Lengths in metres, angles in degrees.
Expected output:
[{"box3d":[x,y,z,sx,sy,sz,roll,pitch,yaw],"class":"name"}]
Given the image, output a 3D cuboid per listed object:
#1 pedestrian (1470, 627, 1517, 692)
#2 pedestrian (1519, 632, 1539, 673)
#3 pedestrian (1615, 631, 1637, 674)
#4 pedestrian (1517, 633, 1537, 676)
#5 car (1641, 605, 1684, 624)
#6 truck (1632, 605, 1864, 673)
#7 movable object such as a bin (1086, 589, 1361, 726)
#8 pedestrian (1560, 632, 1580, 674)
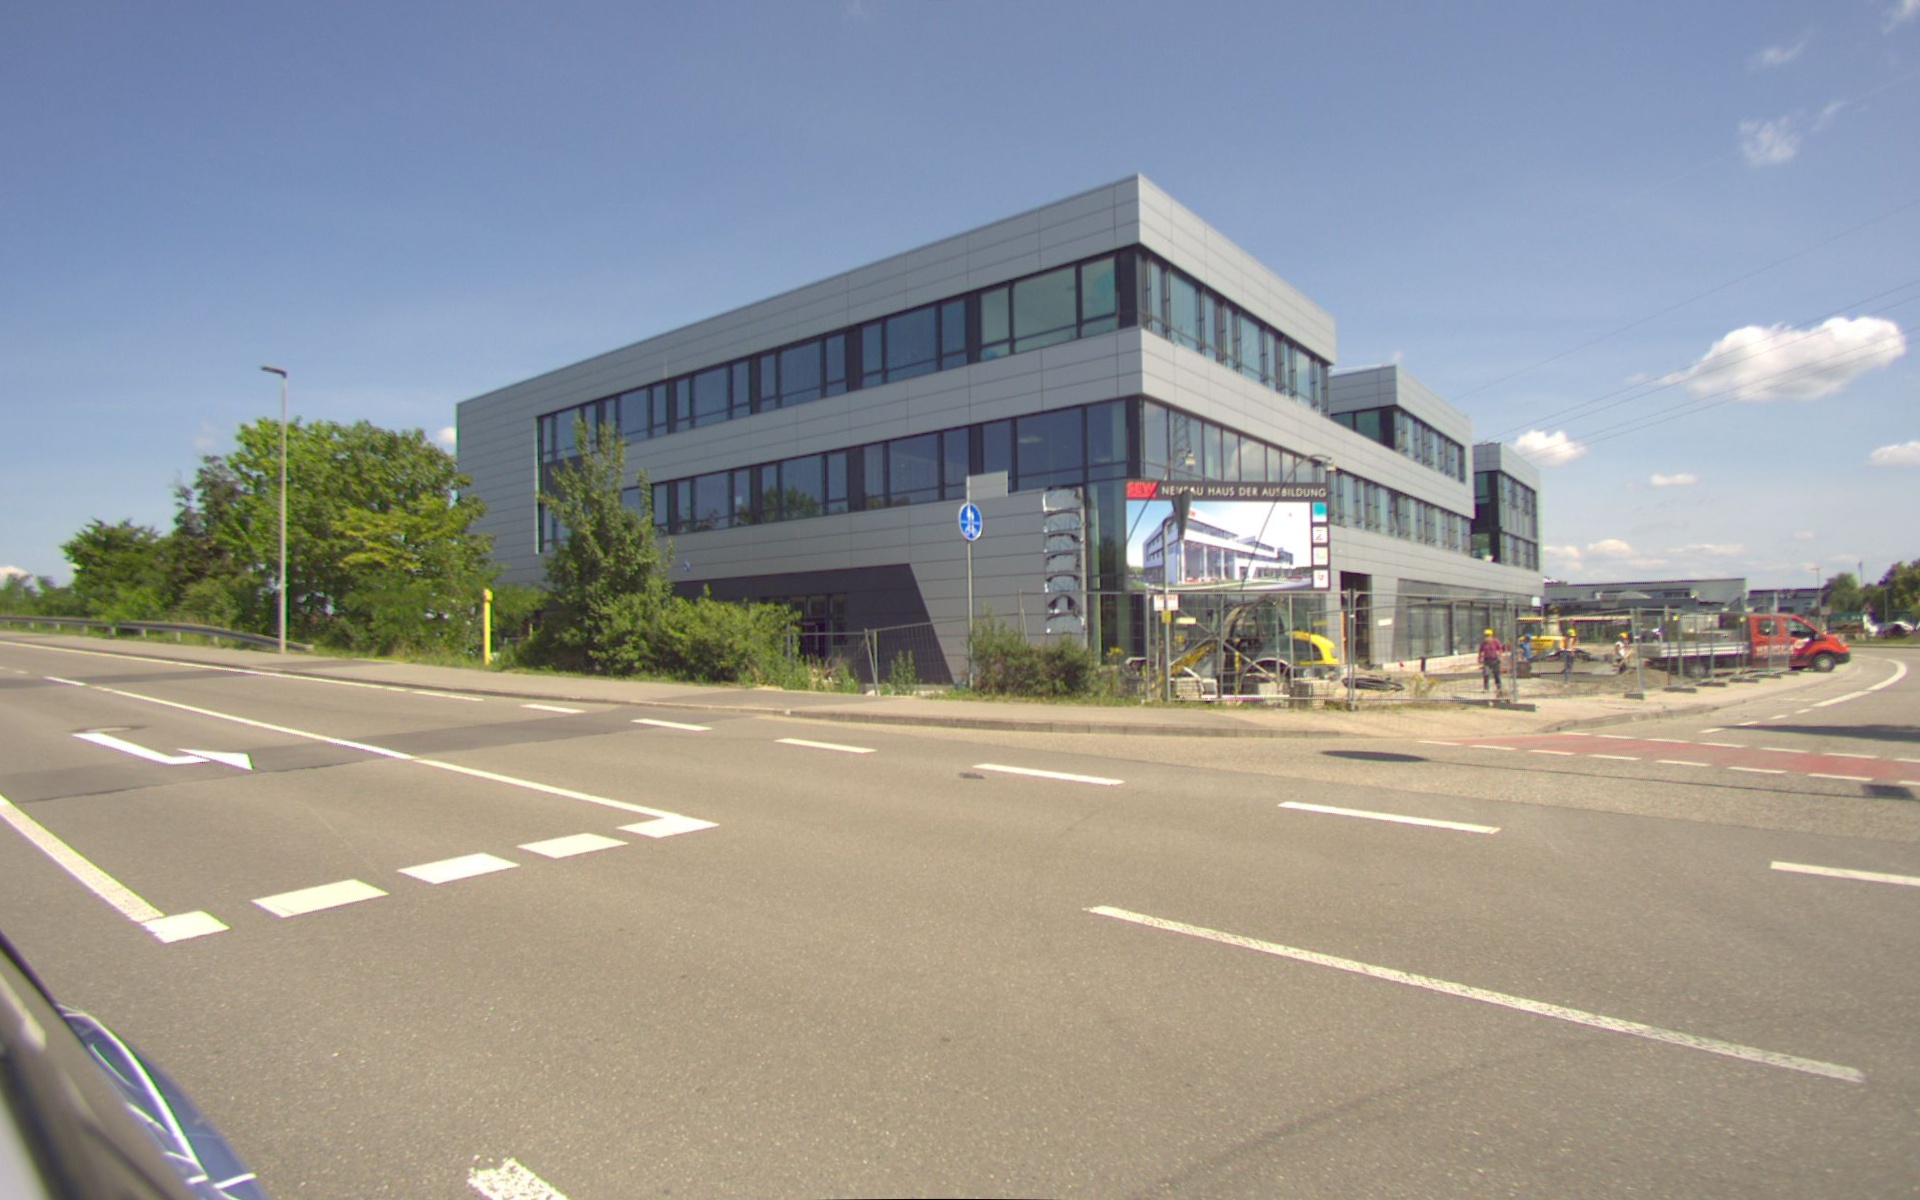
[{"box3d":[15.714,1.740,29.806,1.007,1.868,0.823,-2,-2,44],"class":"pedestrian"},{"box3d":[21.408,1.962,38.069,0.521,1.530,0.413,-1,-1,14],"class":"pedestrian"},{"box3d":[24.185,1.912,36.762,0.521,1.530,0.444,-1,-1,14],"class":"pedestrian"},{"box3d":[20.623,1.975,36.819,0.465,1.530,0.567,-1,-1,14],"class":"pedestrian"},{"box3d":[80.959,1.680,116.620,3.992,2.173,1.976,-2,-2,36],"class":"car"},{"box3d":[28.640,1.429,37.069,6.049,2.204,2.498,-3,-2,15],"class":"truck"},{"box3d":[5.906,1.167,22.916,5.710,2.719,2.060,1,0,28],"class":"movable object such as a bin"},{"box3d":[22.507,1.941,37.353,0.521,1.530,0.413,-1,-1,14],"class":"pedestrian"}]
